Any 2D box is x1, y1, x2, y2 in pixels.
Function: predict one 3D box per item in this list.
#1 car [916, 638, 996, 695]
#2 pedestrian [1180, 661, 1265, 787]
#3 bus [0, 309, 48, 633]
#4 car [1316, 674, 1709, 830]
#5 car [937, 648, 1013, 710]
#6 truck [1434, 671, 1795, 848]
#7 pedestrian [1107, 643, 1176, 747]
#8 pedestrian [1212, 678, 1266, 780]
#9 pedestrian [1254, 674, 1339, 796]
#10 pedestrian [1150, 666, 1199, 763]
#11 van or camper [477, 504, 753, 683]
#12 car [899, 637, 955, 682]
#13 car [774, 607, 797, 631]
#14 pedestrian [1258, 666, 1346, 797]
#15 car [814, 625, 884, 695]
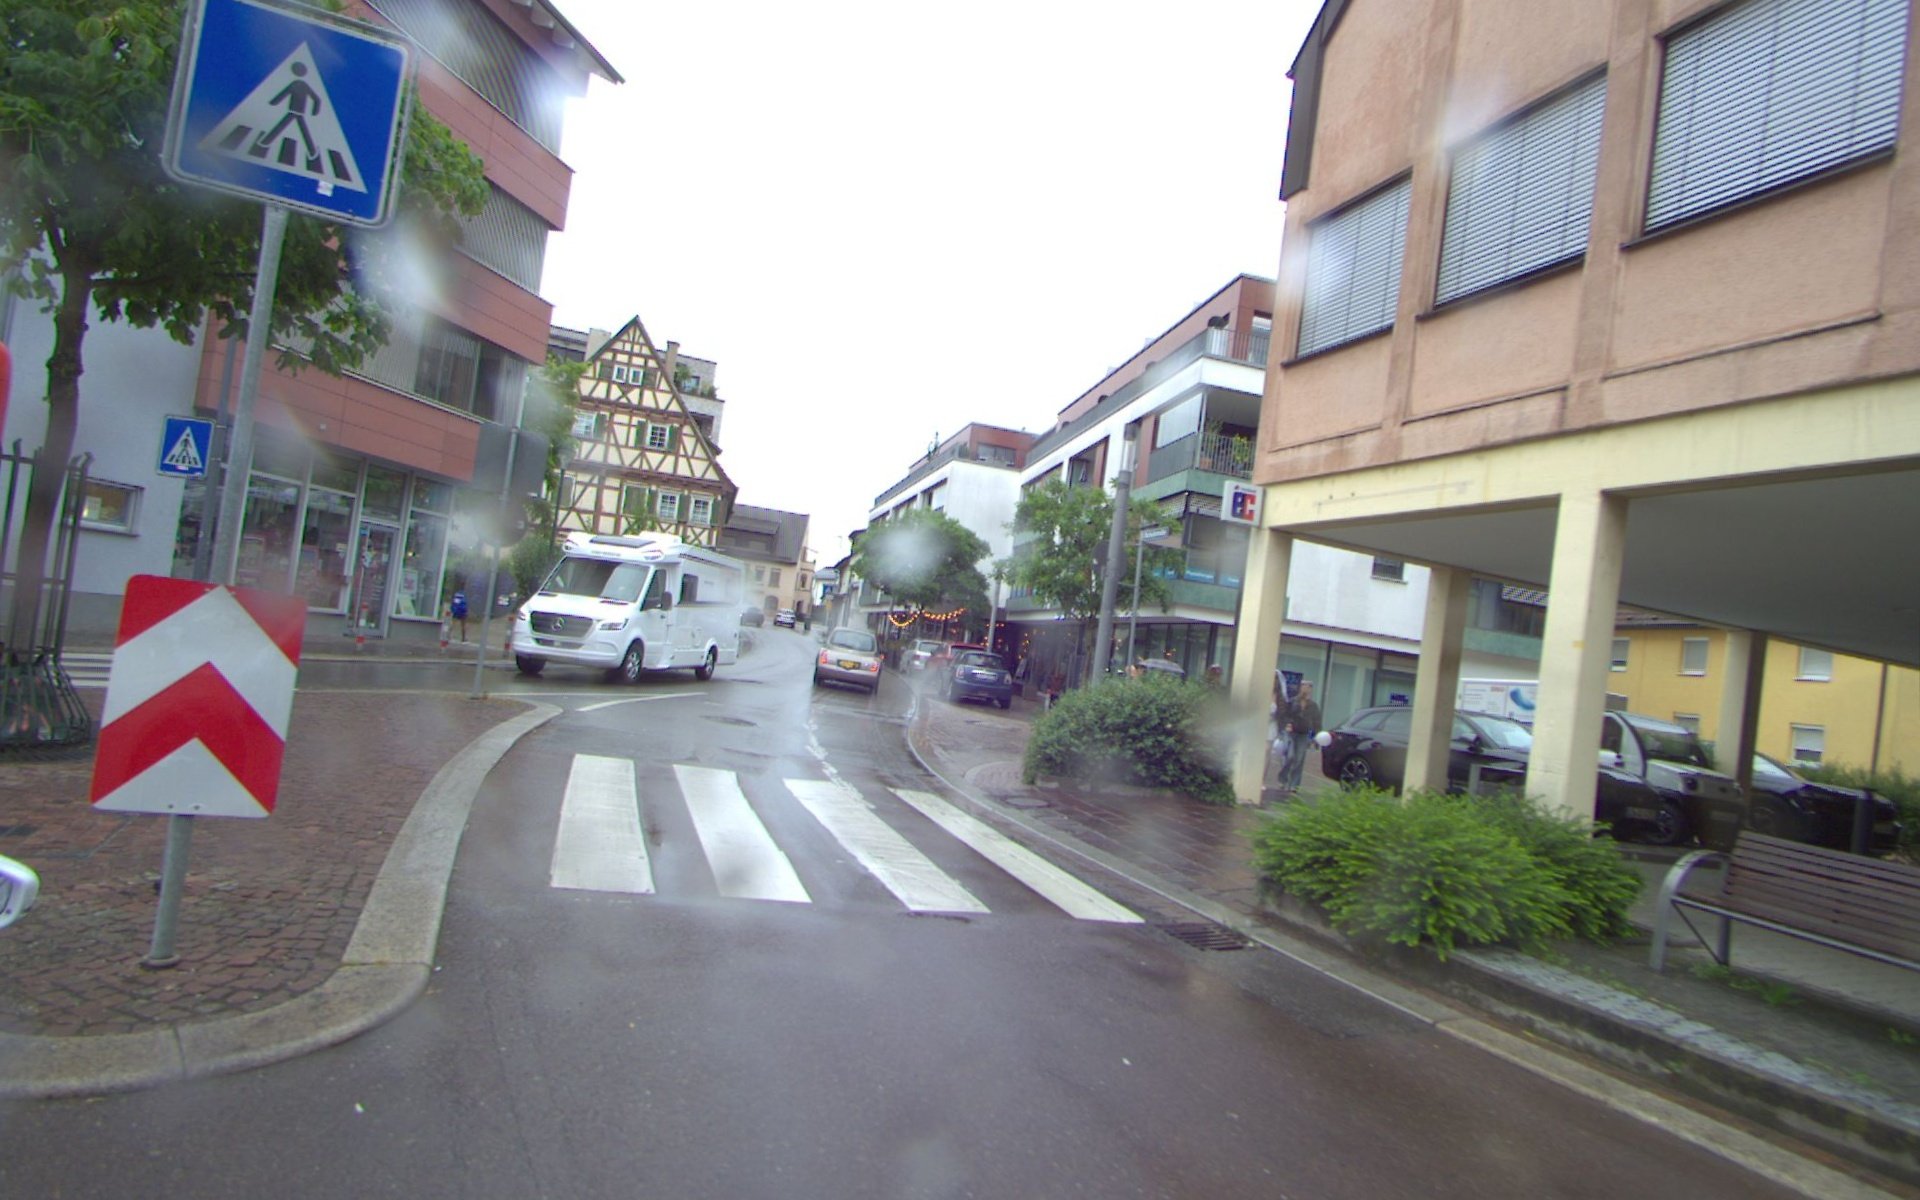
[{"bbox_3d":[-0.200,2.131,33.020,1.603,1.518,3.991,5,-2,-14],"label":"car"},{"bbox_3d":[3.788,1.774,14.578,0.688,1.680,0.818,8,-2,-17],"label":"pedestrian"},{"bbox_3d":[-12.255,-1.650,5.212,2.777,3.123,10.590,7,-2,34],"label":"bus"},{"bbox_3d":[6.924,1.855,13.251,1.743,1.290,4.457,8,-3,-18],"label":"car"},{"bbox_3d":[0.362,2.154,27.939,1.515,1.377,3.373,8,-3,-6],"label":"car"},{"bbox_3d":[9.146,2.156,14.486,1.744,1.828,3.985,8,-3,-20],"label":"truck"},{"bbox_3d":[3.324,1.721,18.466,0.725,1.768,0.889,8,-2,-18],"label":"pedestrian"},{"bbox_3d":[4.430,2.044,15.985,0.490,1.526,0.489,7,-1,-15],"label":"pedestrian"},{"bbox_3d":[5.037,2.008,15.126,0.949,1.657,0.735,7,-2,12],"label":"pedestrian"},{"bbox_3d":[3.951,2.100,18.548,0.534,1.682,0.519,8,-1,-16],"label":"pedestrian"},{"bbox_3d":[-6.361,0.067,19.880,2.400,2.614,6.760,8,-2,4],"label":"van or camper"},{"bbox_3d":[-1.319,2.236,38.486,1.593,1.430,3.996,5,-1,-8],"label":"car"},{"bbox_3d":[-14.863,1.639,85.383,1.653,1.731,3.317,8,-3,-11],"label":"car"},{"bbox_3d":[4.850,1.851,14.300,0.715,1.709,0.730,8,-2,-22],"label":"pedestrian"},{"bbox_3d":[-2.847,1.489,25.916,1.500,1.487,3.340,8,-2,-6],"label":"car"}]
